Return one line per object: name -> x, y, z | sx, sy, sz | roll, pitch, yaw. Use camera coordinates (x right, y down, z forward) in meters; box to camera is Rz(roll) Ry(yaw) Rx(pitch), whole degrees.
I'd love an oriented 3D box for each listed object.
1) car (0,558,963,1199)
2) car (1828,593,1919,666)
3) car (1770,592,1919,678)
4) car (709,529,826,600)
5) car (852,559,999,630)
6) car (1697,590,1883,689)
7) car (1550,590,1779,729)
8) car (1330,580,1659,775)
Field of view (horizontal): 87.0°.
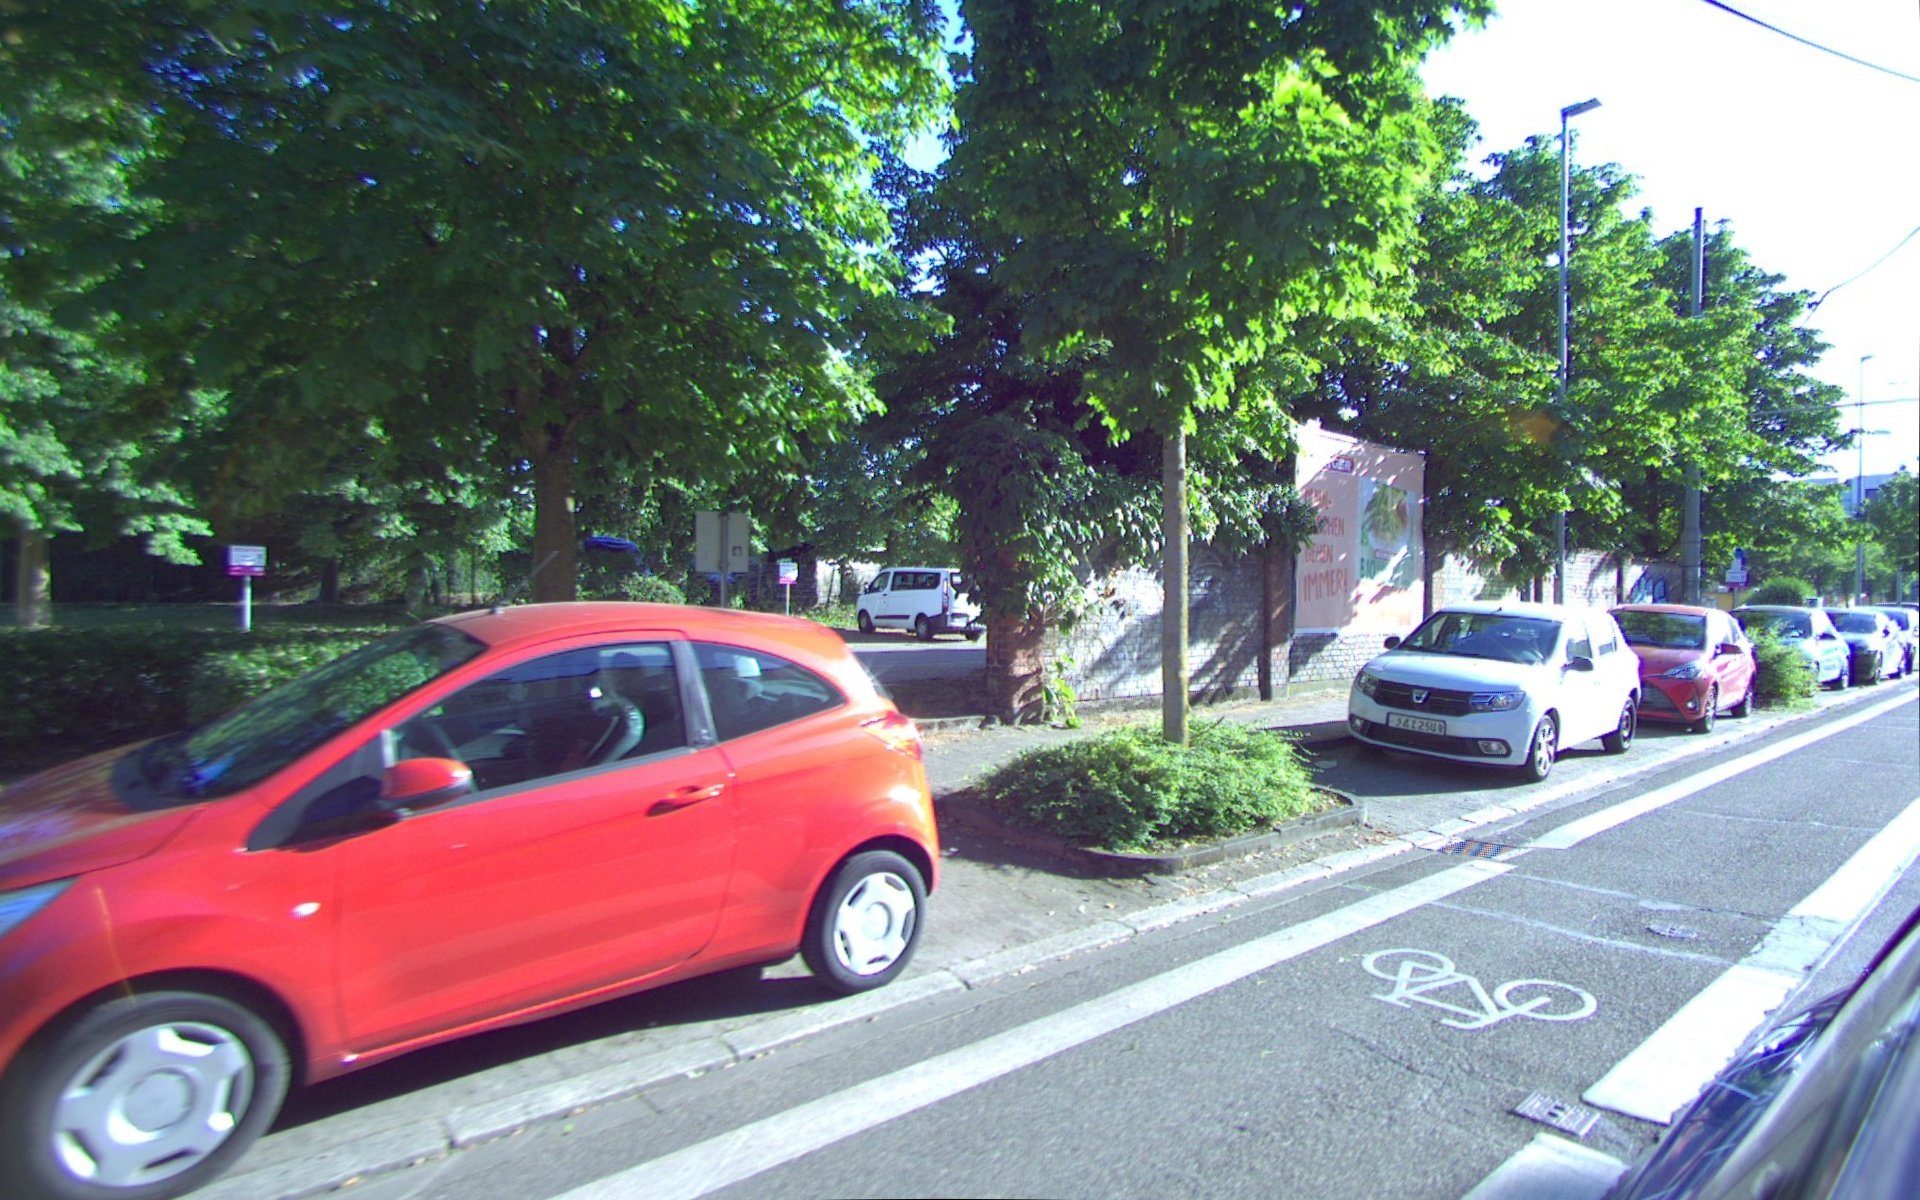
car -> -1.807, 0.671, 3.765 | 3.337, 1.526, 1.639 | 0, 3, -40
car -> 22.551, 0.662, 24.342 | 3.925, 1.549, 1.694 | 0, 2, -37
car -> 18.470, 0.654, 20.877 | 4.274, 1.549, 1.694 | 0, 2, -37
car -> -6.681, -1.207, 34.811 | 2.107, 2.269, 4.194 | 0, 1, -42
car -> -1.065, -0.150, 28.923 | 2.007, 1.848, 4.478 | 0, 0, -37
car -> 15.123, 0.643, 18.380 | 3.925, 1.549, 1.694 | 0, 2, -37
car -> 9.602, 0.681, 13.673 | 3.932, 1.549, 1.691 | 0, 2, -43
car -> 5.509, 0.617, 10.222 | 3.932, 1.549, 1.691 | 0, 2, -43
